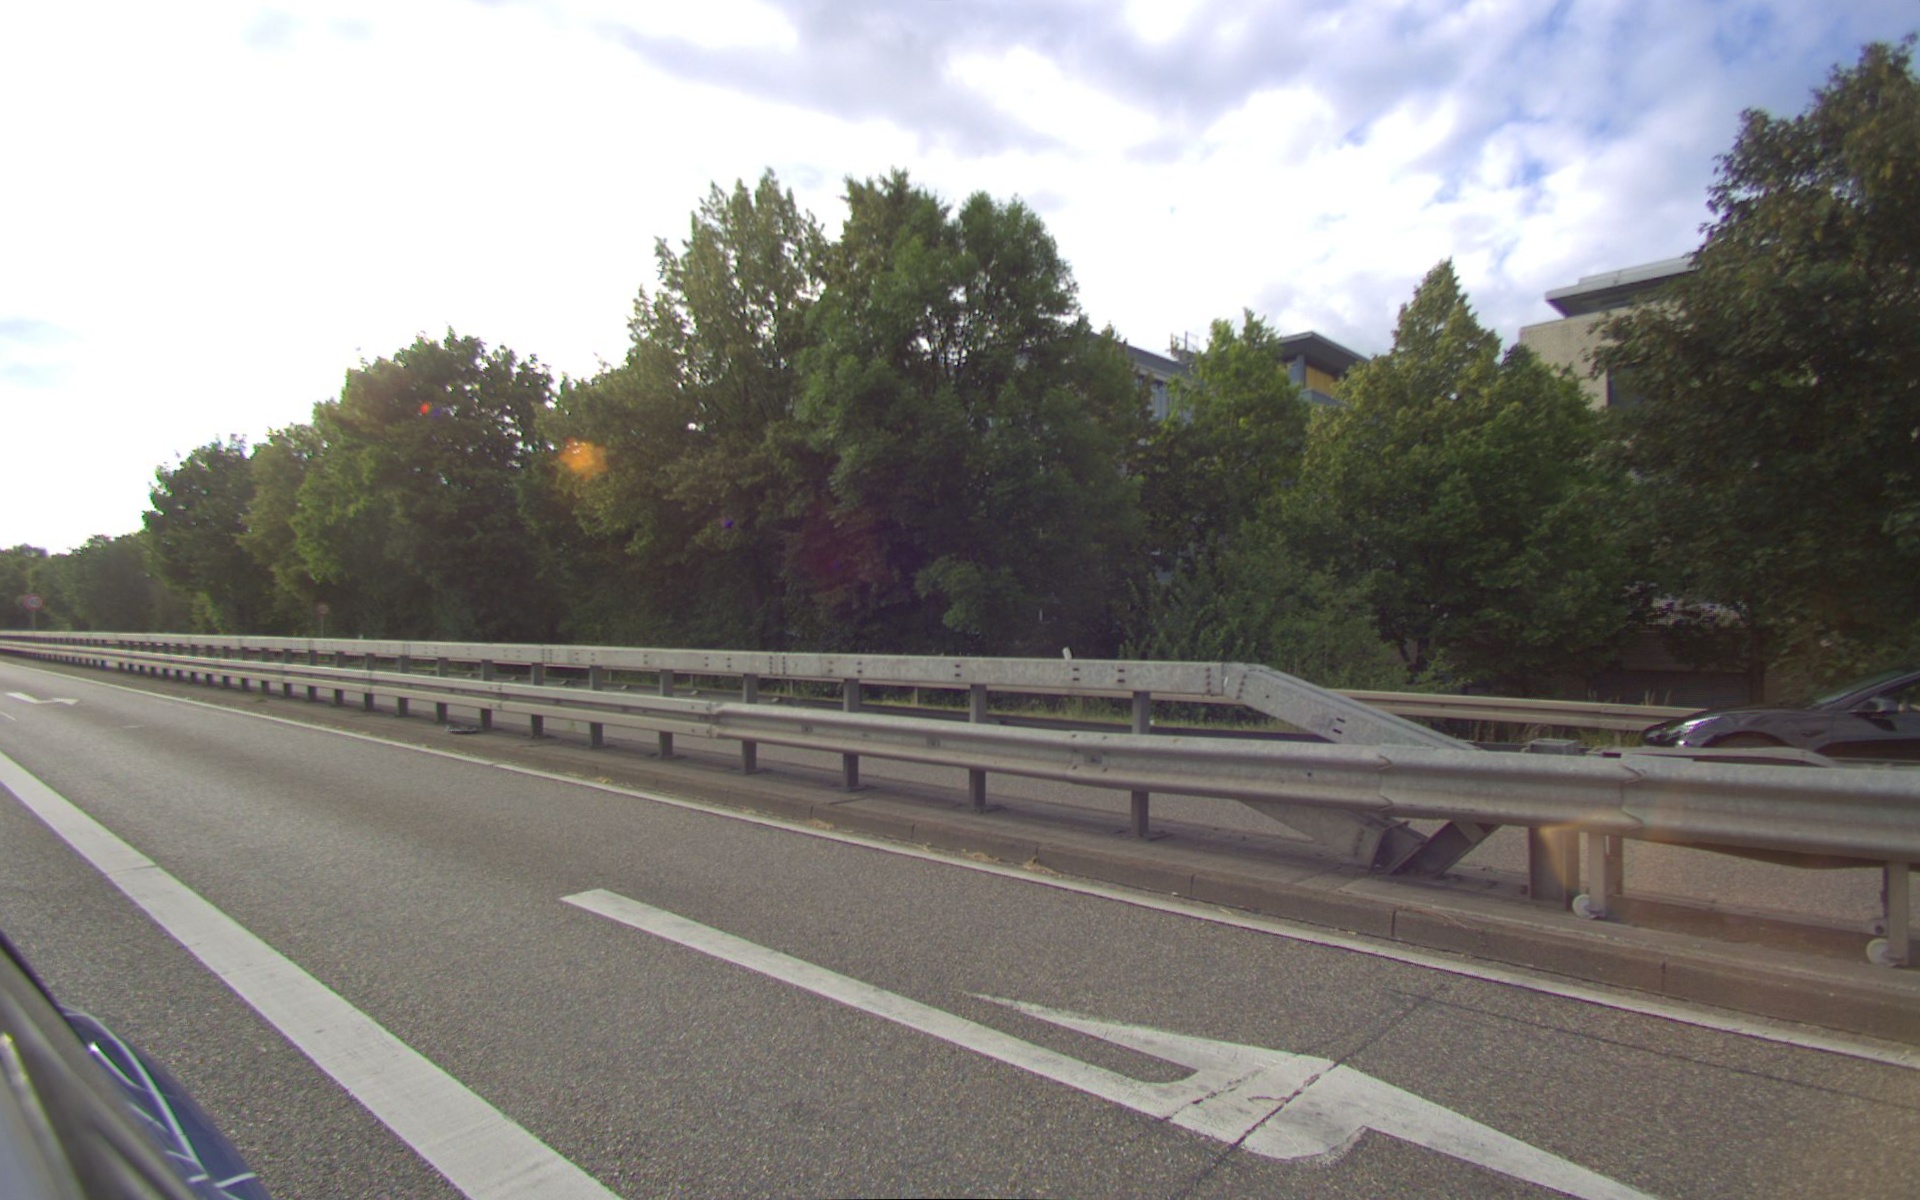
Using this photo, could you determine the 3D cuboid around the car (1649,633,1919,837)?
[{"bbox_3d":[8.222,1.053,8.177,4.364,1.468,1.899,-1,0,36],"label":"car"}]
